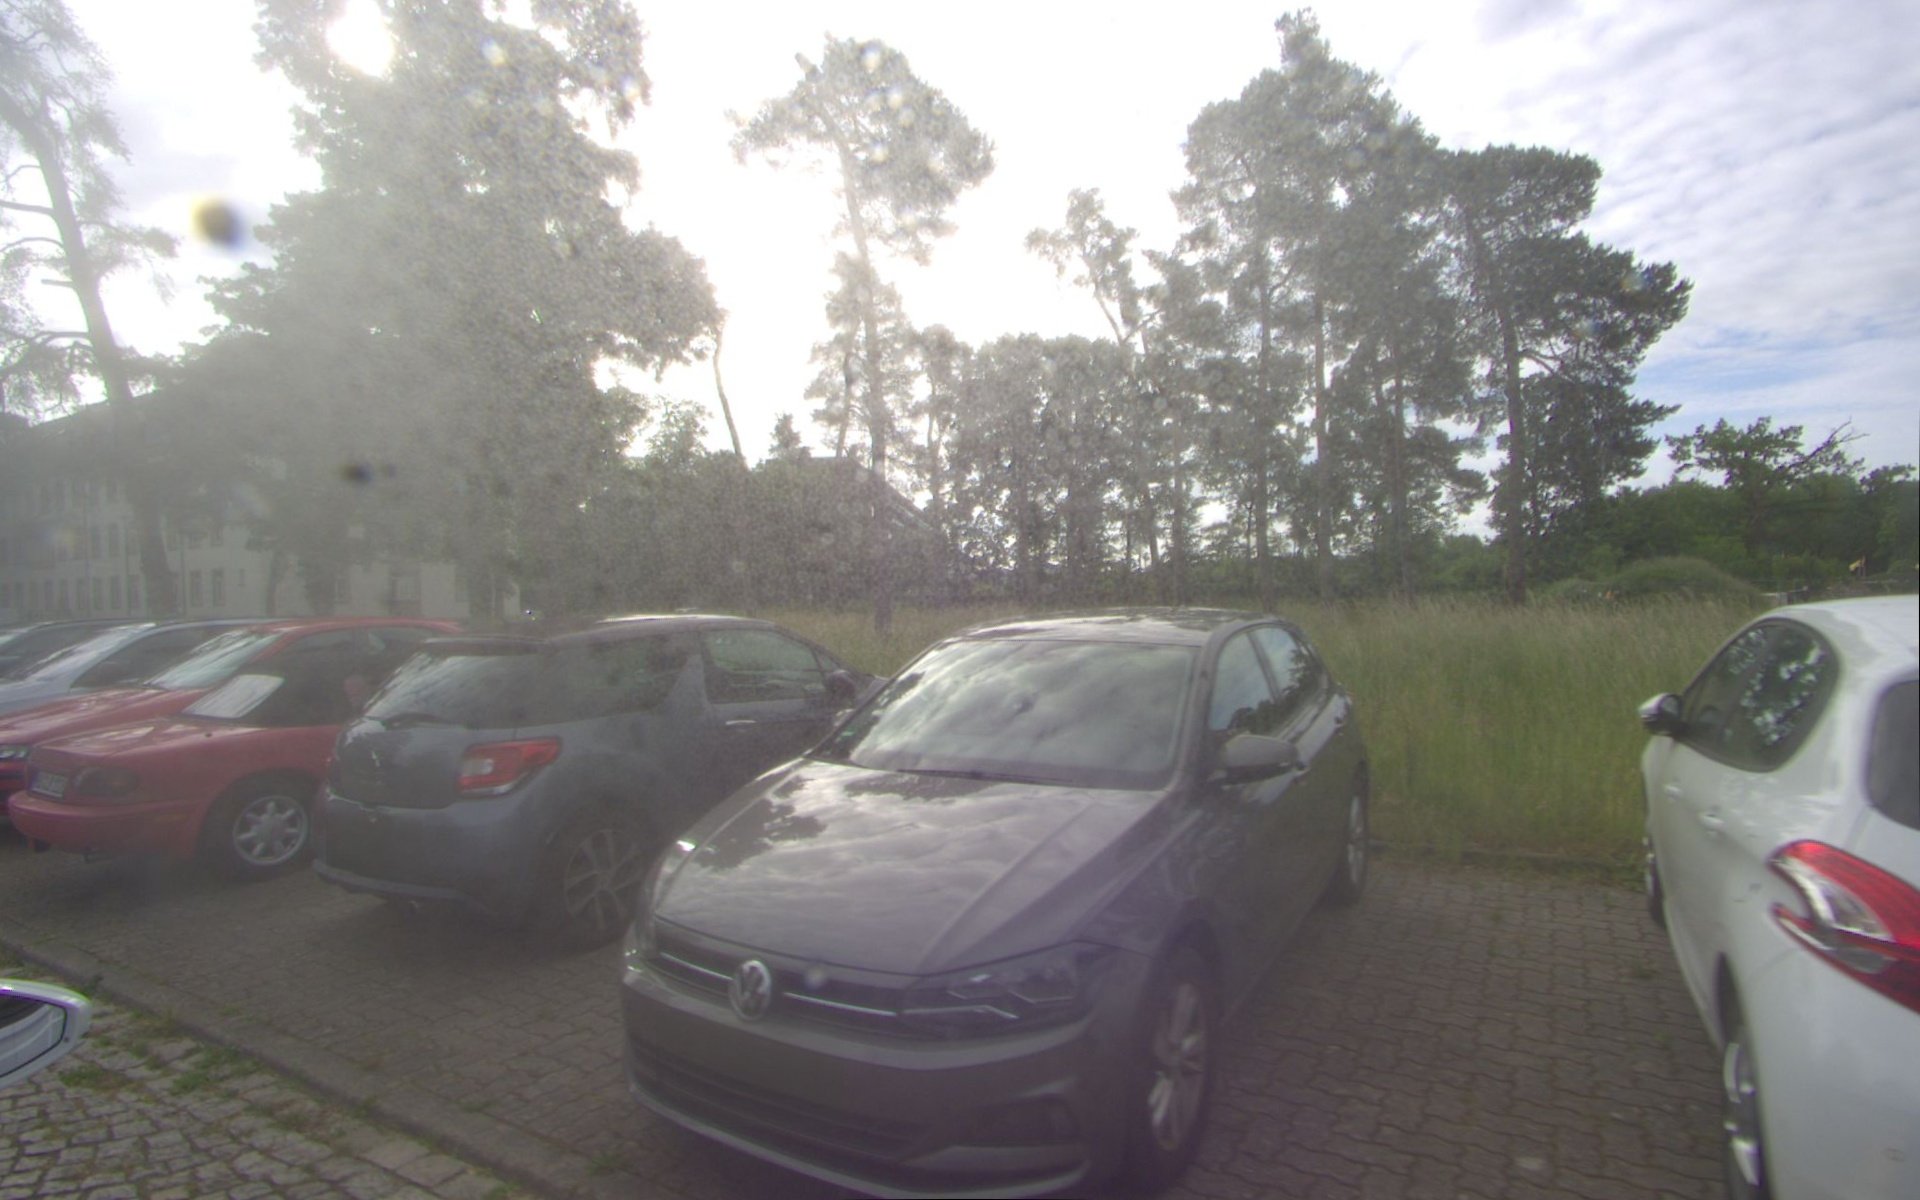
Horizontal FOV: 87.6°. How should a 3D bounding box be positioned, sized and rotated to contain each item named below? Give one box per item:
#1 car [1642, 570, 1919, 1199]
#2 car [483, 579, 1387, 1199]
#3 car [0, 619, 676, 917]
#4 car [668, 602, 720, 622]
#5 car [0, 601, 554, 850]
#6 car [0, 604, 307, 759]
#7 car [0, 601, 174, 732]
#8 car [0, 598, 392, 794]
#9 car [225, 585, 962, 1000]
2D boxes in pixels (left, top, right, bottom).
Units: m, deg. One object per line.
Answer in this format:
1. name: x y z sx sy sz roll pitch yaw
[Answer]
1. car: 3.150 0.687 2.924 1.733 1.492 3.853 0 2 32
2. car: 0.465 0.723 3.905 1.732 1.492 3.854 0 2 31
3. car: -4.054 0.864 7.004 1.731 1.253 3.855 0 2 30
4. car: -21.060 0.990 79.478 1.627 1.439 3.940 -1 -2 33
5. car: -5.938 0.815 8.627 1.843 1.436 4.253 0 2 30
6. car: -10.192 0.867 11.023 1.842 1.436 4.674 -1 2 28
7. car: -12.298 0.849 12.208 1.619 1.497 3.917 0 2 32
8. car: -8.039 0.793 9.464 1.839 1.436 4.422 -1 2 22
9. car: -1.693 0.719 5.911 1.731 1.492 3.855 0 2 29
